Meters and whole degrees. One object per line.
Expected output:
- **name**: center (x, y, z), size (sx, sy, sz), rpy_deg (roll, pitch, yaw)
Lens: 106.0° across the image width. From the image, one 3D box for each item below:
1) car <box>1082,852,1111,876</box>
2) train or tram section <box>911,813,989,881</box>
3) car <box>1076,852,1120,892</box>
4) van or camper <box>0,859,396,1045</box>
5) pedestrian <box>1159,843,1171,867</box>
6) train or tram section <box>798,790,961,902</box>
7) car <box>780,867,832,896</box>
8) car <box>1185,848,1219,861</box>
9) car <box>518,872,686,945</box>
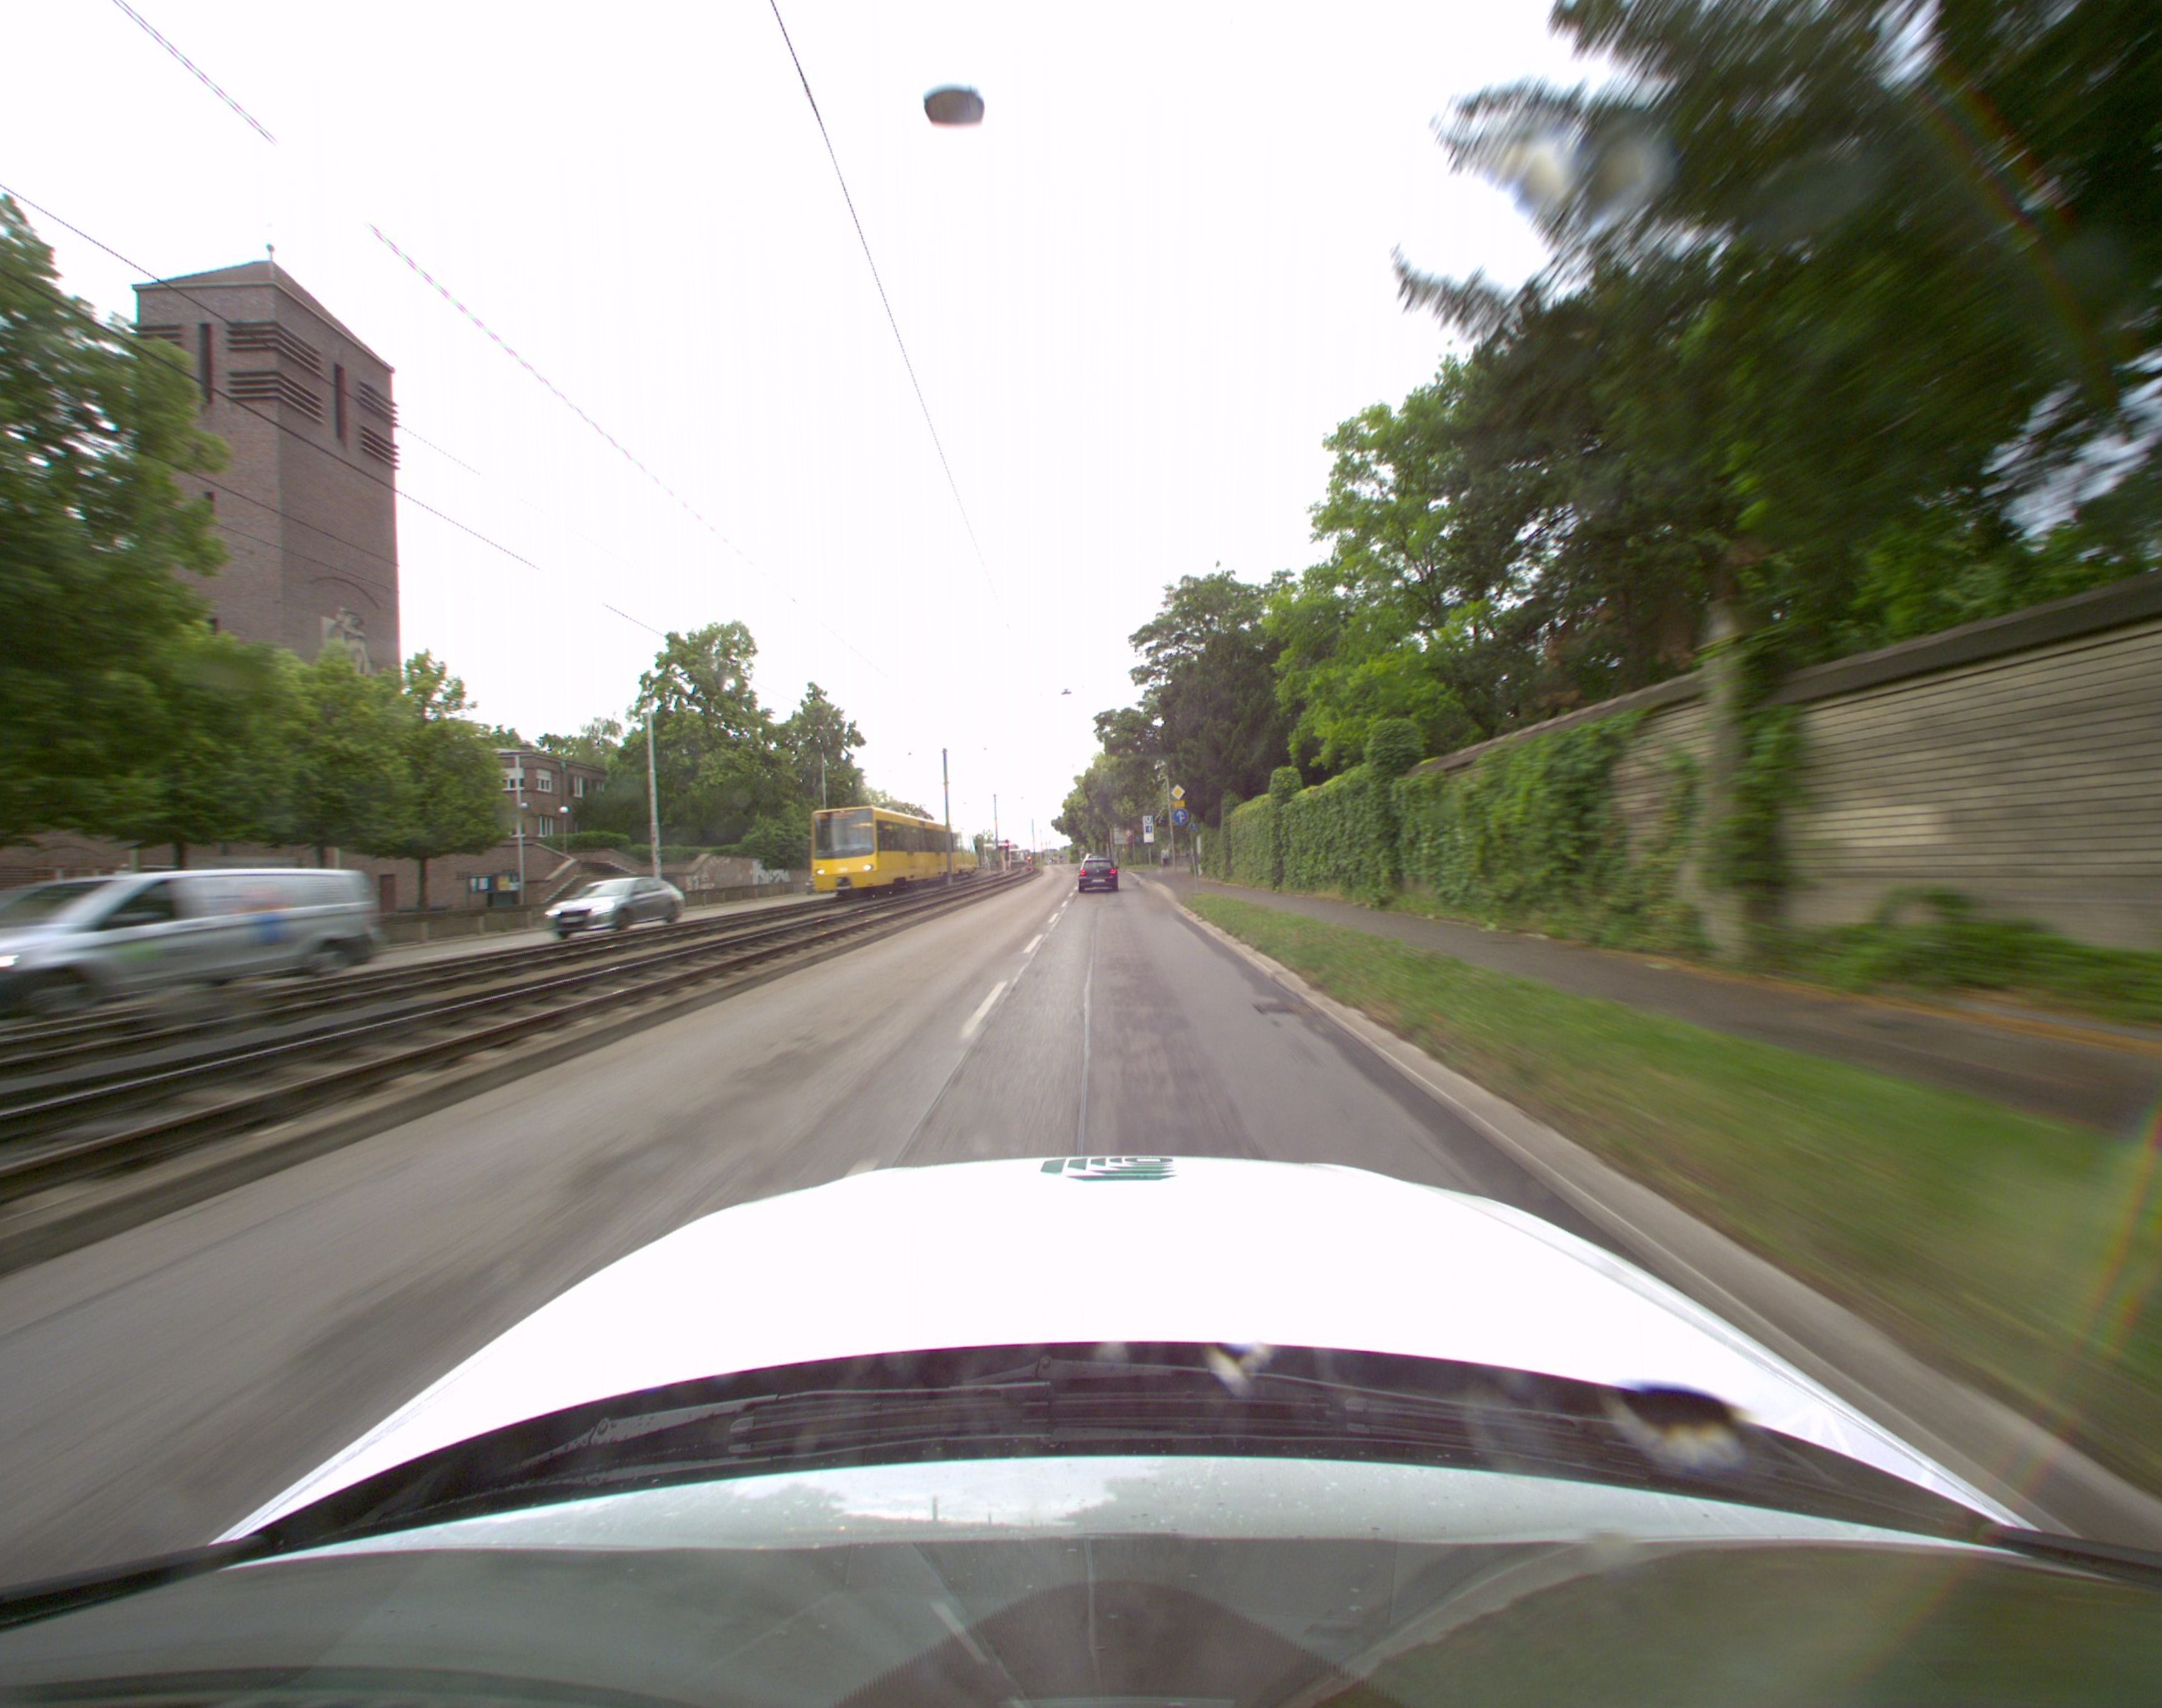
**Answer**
- **car**: center (0.992, 0.641, 55.176), size (1.683, 1.517, 3.997), rpy_deg (-3, 0, -2)
- **train or tram section**: center (-9.013, -0.470, 58.623), size (2.820, 3.975, 17.867), rpy_deg (-3, 0, -1)
- **car**: center (0.737, 0.734, 35.269), size (1.720, 1.540, 4.001), rpy_deg (-3, 0, 1)
- **van or camper**: center (-12.662, 1.119, 11.001), size (1.907, 1.959, 5.693), rpy_deg (-3, 0, 0)
- **pedestrian**: center (6.701, 0.071, 64.753), size (0.852, 1.854, 0.737), rpy_deg (-2, 0, 1)
- **train or tram section**: center (-8.879, -0.364, 39.945), size (2.819, 3.975, 20.025), rpy_deg (-3, 0, 0)
- **car**: center (-16.026, 1.553, 47.597), size (1.682, 1.467, 3.916), rpy_deg (-3, 0, -1)
- **car**: center (17.003, 0.044, 114.470), size (1.957, 1.834, 4.414), rpy_deg (0, 0, -43)
- **car**: center (-12.466, 1.344, 21.602), size (1.782, 1.532, 4.503), rpy_deg (-3, 0, -1)
